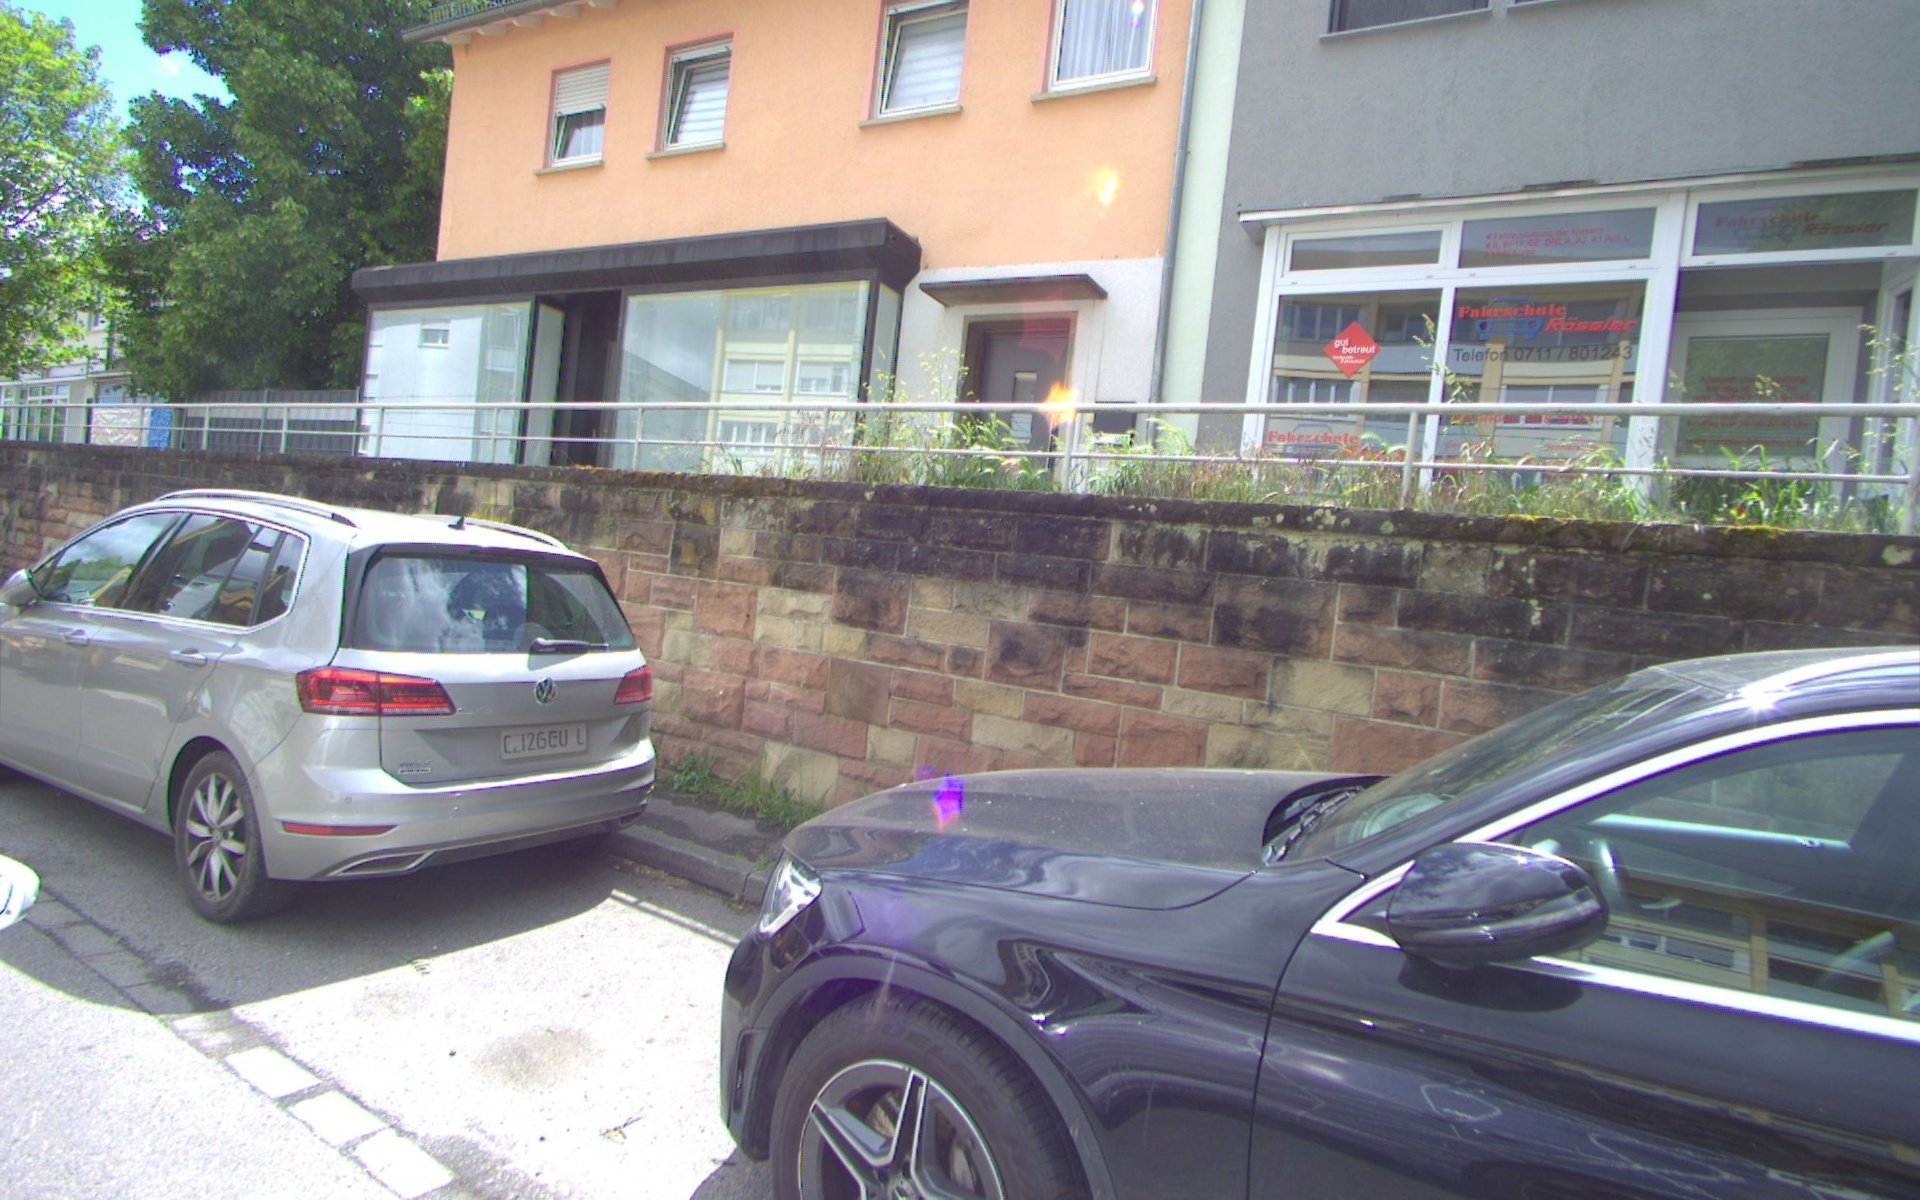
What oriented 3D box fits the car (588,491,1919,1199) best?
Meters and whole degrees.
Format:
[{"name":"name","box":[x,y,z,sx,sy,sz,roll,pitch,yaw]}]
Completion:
[{"name":"car","box":[1.545,0.830,1.894,4.373,1.639,1.791,7,2,31]}]

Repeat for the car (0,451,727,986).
[{"name":"car","box":[-3.404,0.252,5.038,4.177,1.638,1.791,7,1,31]}]
